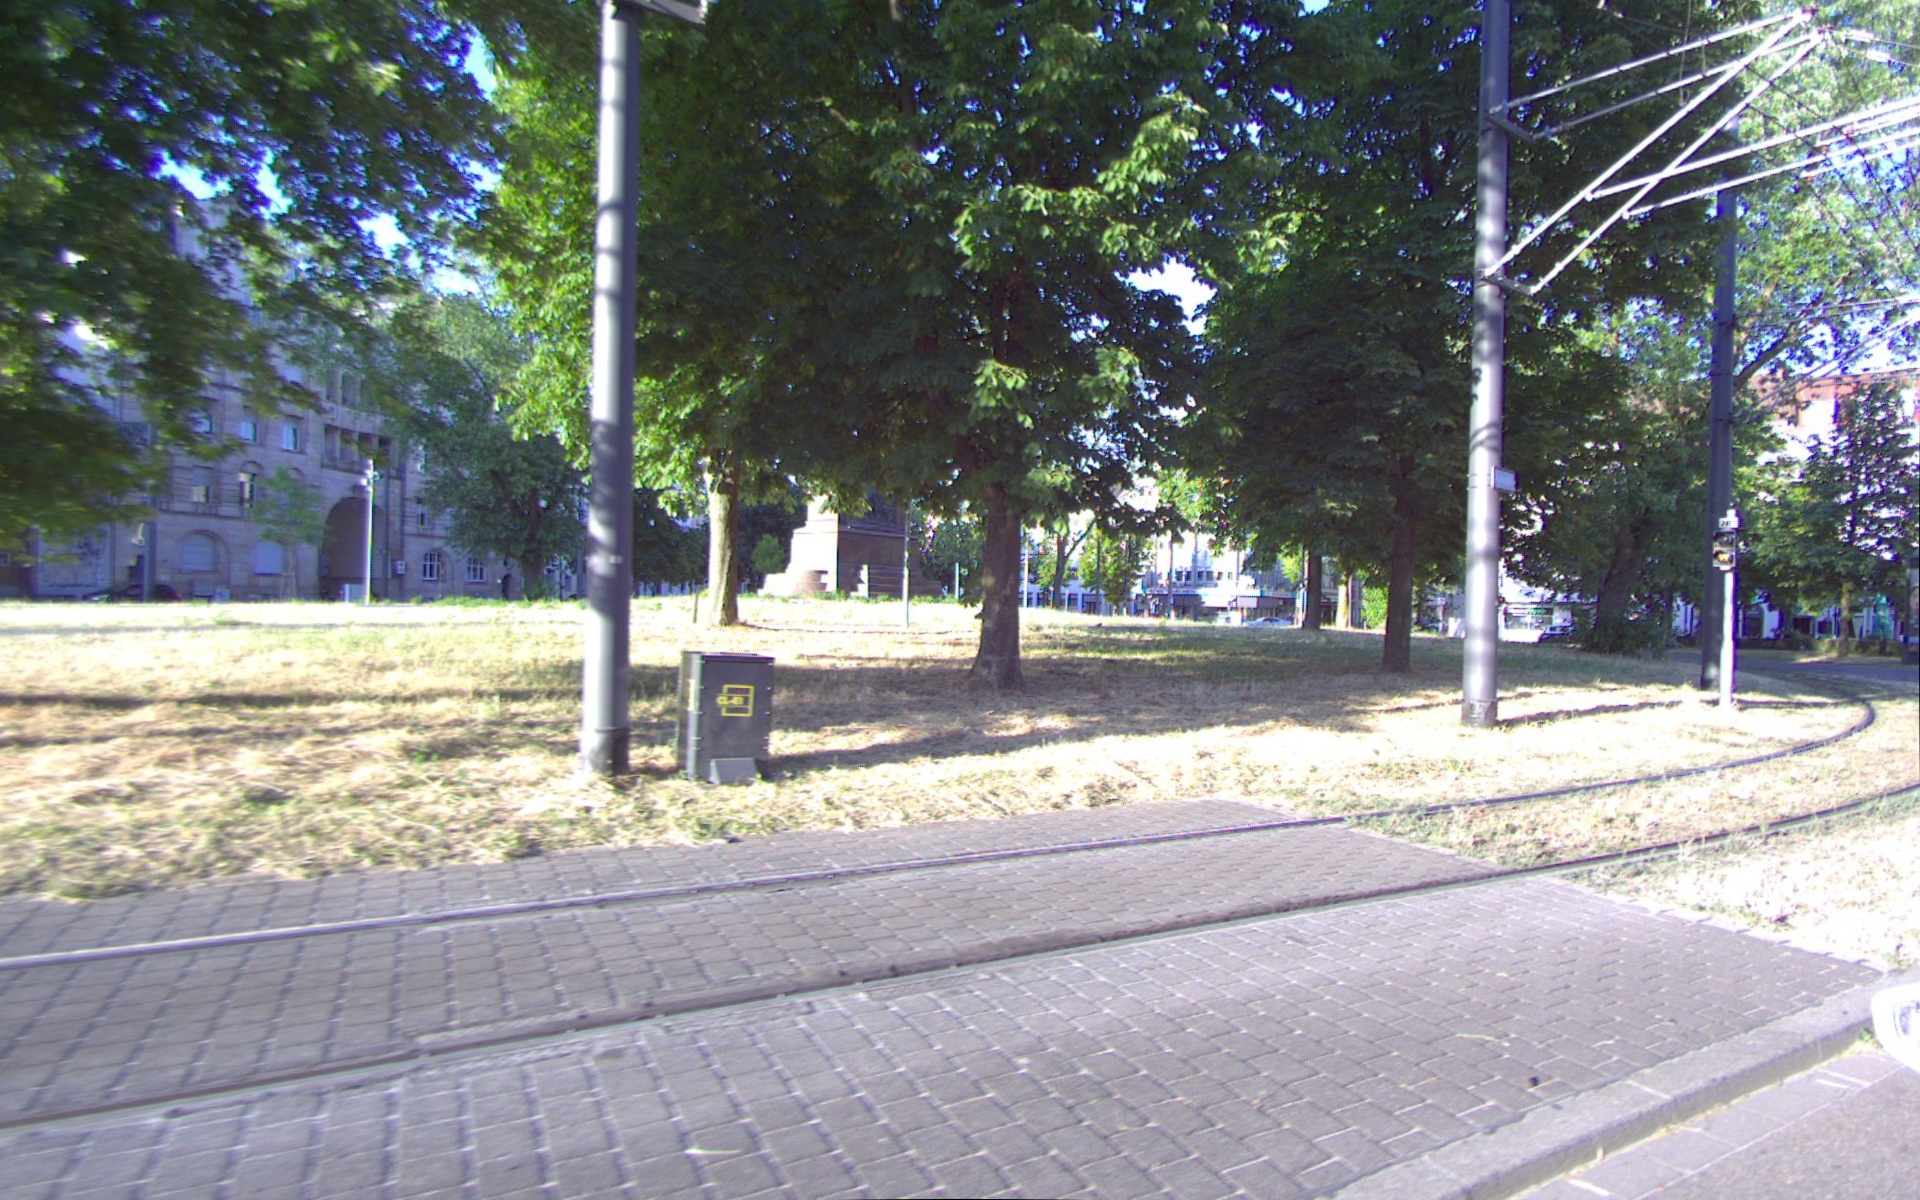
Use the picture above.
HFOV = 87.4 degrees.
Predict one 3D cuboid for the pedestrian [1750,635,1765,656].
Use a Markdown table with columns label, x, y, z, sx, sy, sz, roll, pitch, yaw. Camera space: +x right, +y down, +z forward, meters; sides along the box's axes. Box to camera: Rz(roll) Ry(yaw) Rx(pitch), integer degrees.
| label | x | y | z | sx | sy | sz | roll | pitch | yaw |
| --- | --- | --- | --- | --- | --- | --- | --- | --- | --- |
| pedestrian | 51.806 | 2.948 | 65.251 | 0.654 | 1.370 | 0.661 | 2 | 0 | -41 |

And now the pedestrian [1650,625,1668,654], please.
| label | x | y | z | sx | sy | sz | roll | pitch | yaw |
| --- | --- | --- | --- | --- | --- | --- | --- | --- | --- |
| pedestrian | 39.744 | 2.247 | 57.112 | 0.550 | 1.587 | 0.594 | 2 | 1 | 6 |

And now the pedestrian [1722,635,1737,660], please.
| label | x | y | z | sx | sy | sz | roll | pitch | yaw |
| --- | --- | --- | --- | --- | --- | --- | --- | --- | --- |
| pedestrian | 48.293 | 2.964 | 63.067 | 0.653 | 1.517 | 0.530 | 2 | 0 | -36 |

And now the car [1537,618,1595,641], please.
| label | x | y | z | sx | sy | sz | roll | pitch | yaw |
| --- | --- | --- | --- | --- | --- | --- | --- | --- | --- |
| car | 46.364 | 2.264 | 76.910 | 3.569 | 1.572 | 1.655 | 2 | 0 | 39 |

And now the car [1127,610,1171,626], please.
| label | x | y | z | sx | sy | sz | roll | pitch | yaw |
| --- | --- | --- | --- | --- | --- | --- | --- | --- | --- |
| car | 19.715 | 1.879 | 104.866 | 3.937 | 1.483 | 1.992 | 2 | 0 | 38 |

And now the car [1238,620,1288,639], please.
| label | x | y | z | sx | sy | sz | roll | pitch | yaw |
| --- | --- | --- | --- | --- | --- | --- | --- | --- | --- |
| car | 26.745 | 2.638 | 88.714 | 3.879 | 1.482 | 1.591 | 2 | 0 | -6 |

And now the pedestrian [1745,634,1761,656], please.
| label | x | y | z | sx | sy | sz | roll | pitch | yaw |
| --- | --- | --- | --- | --- | --- | --- | --- | --- | --- |
| pedestrian | 51.061 | 2.922 | 64.656 | 0.654 | 1.370 | 0.661 | 2 | 0 | -41 |

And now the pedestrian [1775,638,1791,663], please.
| label | x | y | z | sx | sy | sz | roll | pitch | yaw |
| --- | --- | --- | --- | --- | --- | --- | --- | --- | --- |
| pedestrian | 49.818 | 3.061 | 60.806 | 0.653 | 1.517 | 0.530 | 2 | 0 | -36 |

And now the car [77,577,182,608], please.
| label | x | y | z | sx | sy | sz | roll | pitch | yaw |
| --- | --- | --- | --- | --- | --- | --- | --- | --- | --- |
| car | -39.363 | -0.354 | 47.693 | 1.526 | 1.372 | 3.516 | 3 | 1 | 28 |
